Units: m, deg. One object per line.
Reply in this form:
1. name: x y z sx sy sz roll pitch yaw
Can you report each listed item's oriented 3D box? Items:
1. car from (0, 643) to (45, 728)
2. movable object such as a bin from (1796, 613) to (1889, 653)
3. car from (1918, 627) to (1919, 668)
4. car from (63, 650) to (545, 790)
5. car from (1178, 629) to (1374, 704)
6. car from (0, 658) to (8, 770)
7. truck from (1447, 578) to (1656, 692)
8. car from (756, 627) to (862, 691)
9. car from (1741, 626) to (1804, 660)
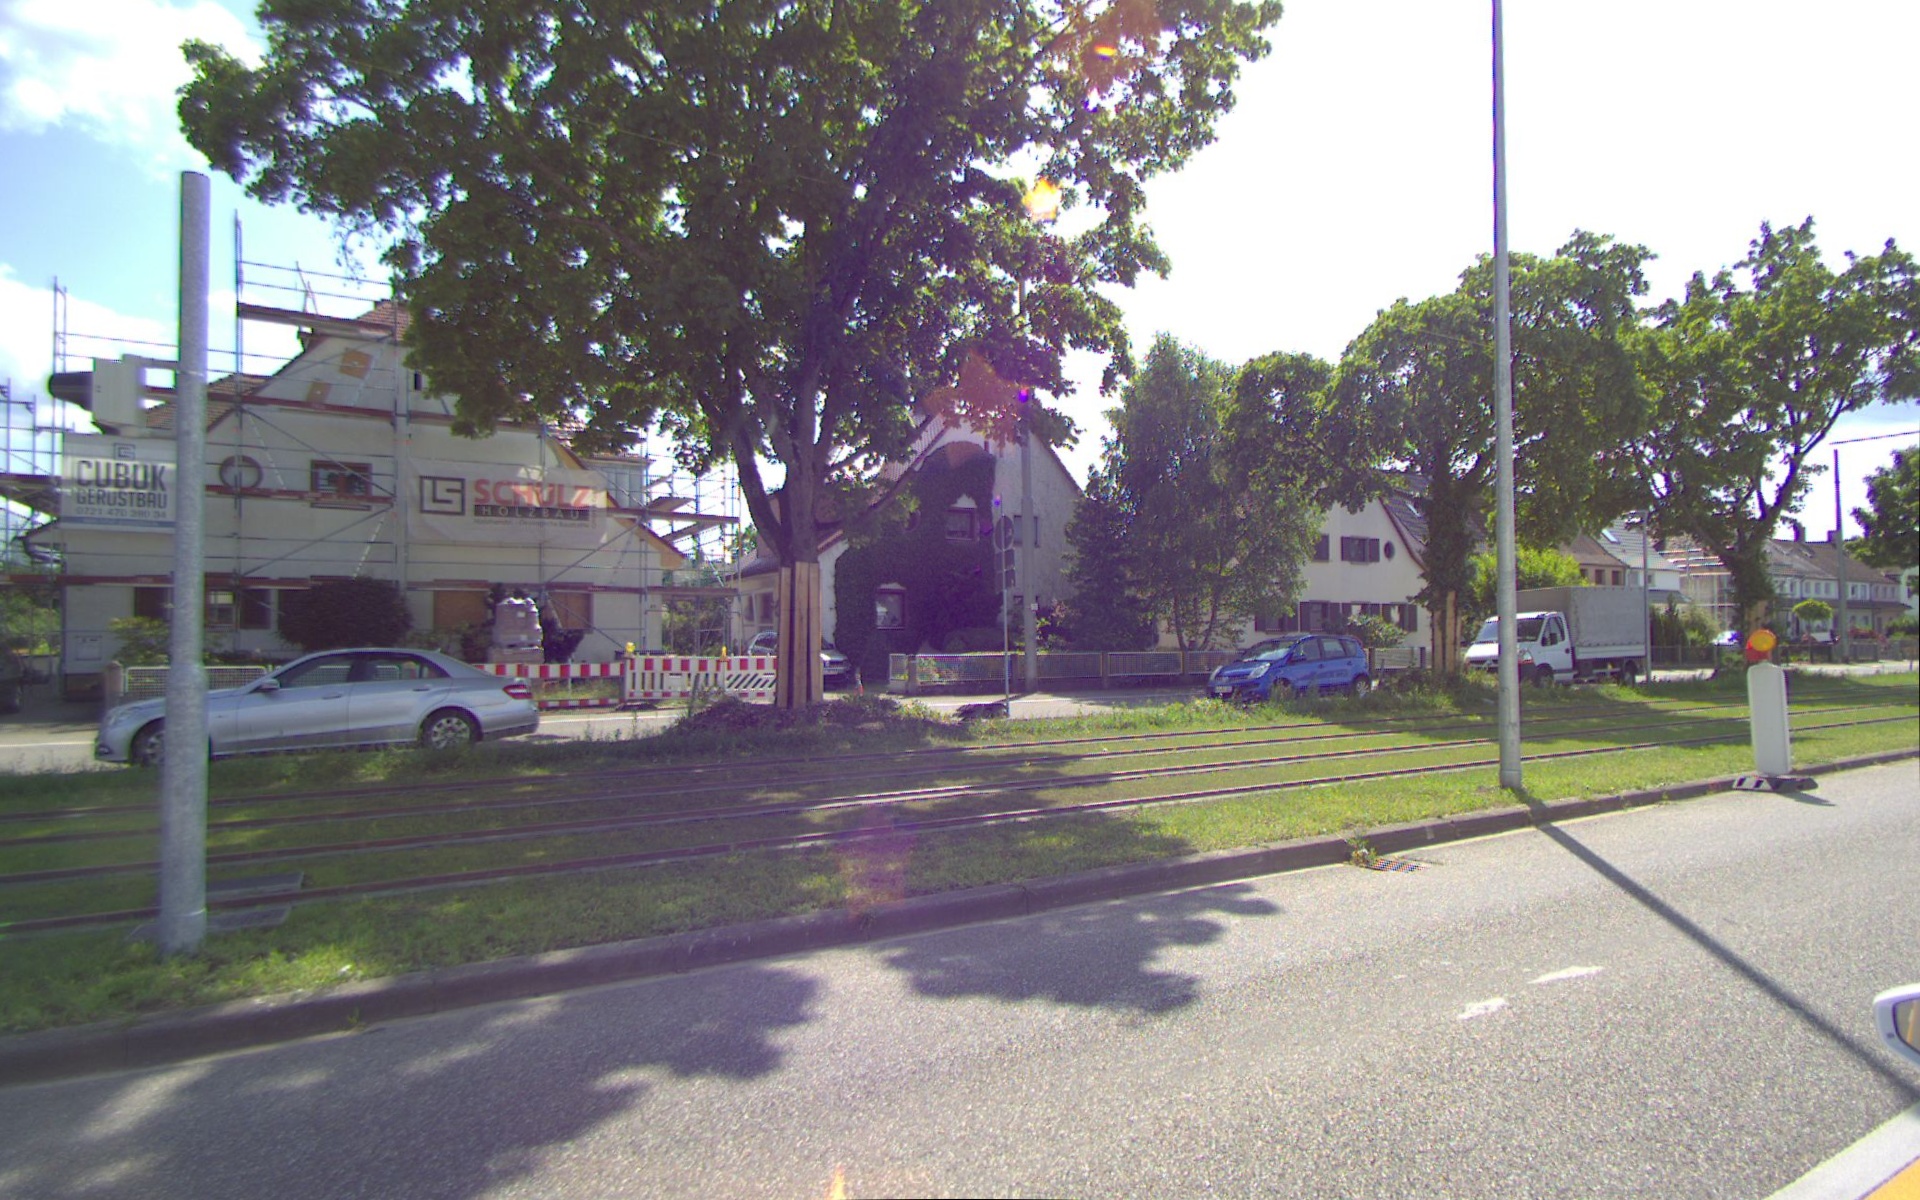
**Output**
1. car: -17.599 1.488 17.191 1.958 1.419 3.969 2 -2 -29
2. movable object such as a bin: 56.140 2.125 64.018 4.284 2.481 1.781 -2 -3 39
3. car: 44.171 2.091 44.110 3.953 1.772 1.985 2 -3 -30
4. car: -8.095 1.415 12.978 4.880 1.501 1.797 1 -3 -30
5. car: 6.888 1.421 21.842 3.955 1.472 1.983 2 -4 -32
6. car: -12.738 1.254 10.353 3.807 1.334 1.985 2 -5 -30
7. truck: 16.163 0.960 27.320 6.202 2.803 1.985 1 -5 -30
8. car: -4.381 1.689 28.785 1.851 1.706 3.632 2 -3 -30
9. car: 44.068 2.348 54.461 2.994 1.744 1.677 2 -3 -30
